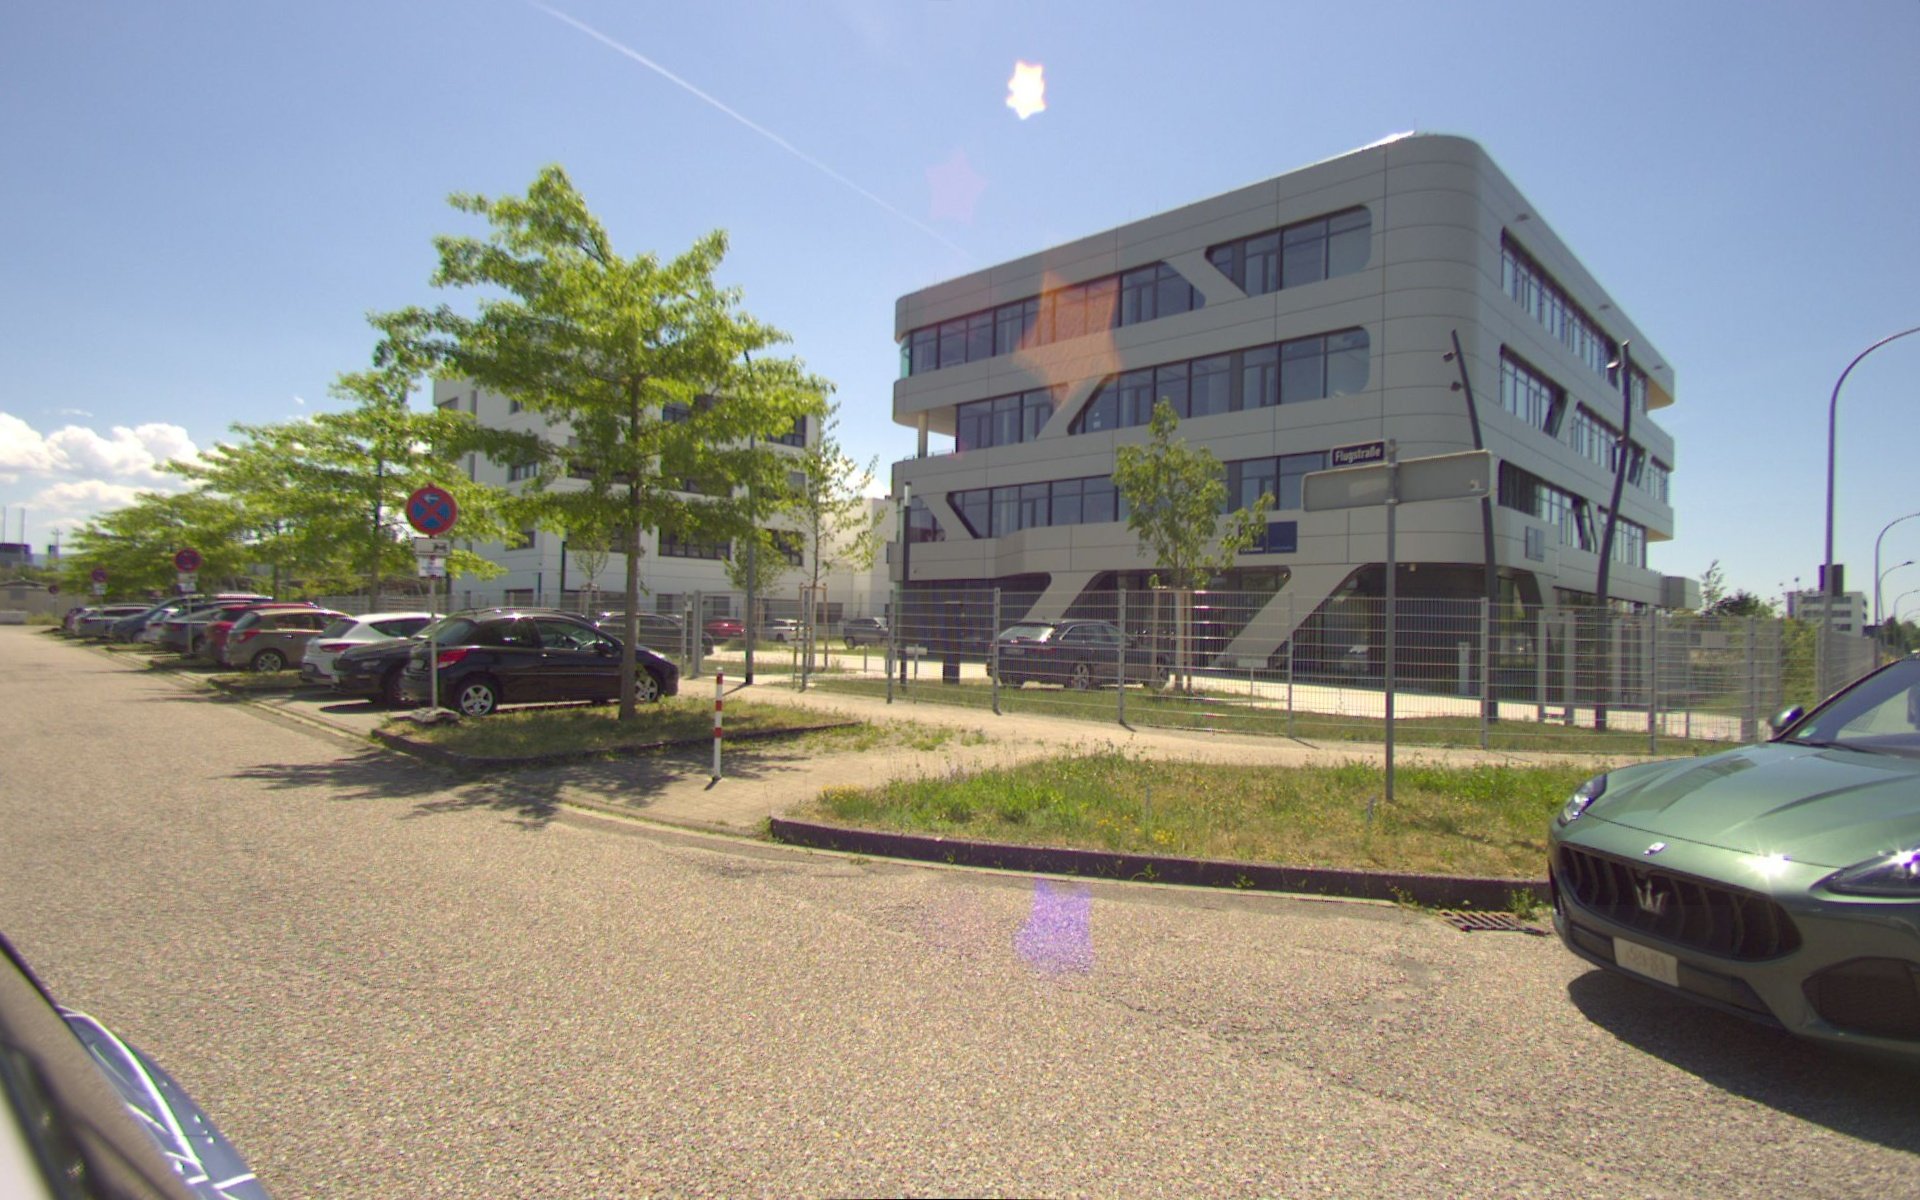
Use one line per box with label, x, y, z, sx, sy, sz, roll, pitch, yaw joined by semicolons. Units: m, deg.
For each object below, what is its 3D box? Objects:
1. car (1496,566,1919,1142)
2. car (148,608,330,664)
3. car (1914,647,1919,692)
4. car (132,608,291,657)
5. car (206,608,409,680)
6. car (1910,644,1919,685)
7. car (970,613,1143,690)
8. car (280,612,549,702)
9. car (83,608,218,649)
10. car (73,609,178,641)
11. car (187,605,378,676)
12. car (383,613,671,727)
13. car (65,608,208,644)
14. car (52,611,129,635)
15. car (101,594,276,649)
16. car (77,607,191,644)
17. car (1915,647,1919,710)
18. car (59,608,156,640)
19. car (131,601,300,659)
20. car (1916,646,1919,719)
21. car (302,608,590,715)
car;4.905;0.900;4.238;4.438;1.720;1.962;3;-4;-11
car;-21.074;1.001;29.684;1.714;1.491;4.145;-1;0;45
car;34.331;2.451;34.816;1.999;1.552;3.945;3;-1;41
car;-24.620;1.035;33.372;1.604;1.472;3.994;-1;0;42
car;-15.019;0.948;23.405;1.730;1.520;3.618;-1;-1;41
car;38.694;2.593;39.601;1.999;1.552;3.945;3;-1;41
car;1.997;1.047;20.281;1.678;1.401;3.440;-1;-4;44
car;-10.019;0.970;18.808;1.873;1.435;4.033;0;0;41
car;-31.356;1.070;39.245;1.765;1.495;3.923;-1;0;45
car;-43.316;1.290;52.575;4.123;1.524;1.808;0;-2;-44
car;-16.821;0.940;25.221;3.694;1.633;1.818;0;-1;-45
car;-6.352;0.932;15.071;1.727;1.446;3.584;0;0;44
car;-35.873;1.095;44.170;1.858;1.458;4.661;-1;-1;43
car;-53.753;1.392;62.579;1.728;1.452;3.465;-1;-1;44
car;-28.741;0.795;37.811;5.010;1.906;1.999;1;-1;-44
car;-39.095;1.168;47.962;4.069;1.647;1.729;0;-1;-44
car;24.332;1.945;24.176;1.999;1.552;3.945;3;-1;41
car;-45.683;1.268;54.292;1.727;1.604;3.797;-1;-1;42
car;-23.154;0.883;31.580;1.776;1.691;3.947;0;0;40
car;20.516;1.744;20.092;1.999;1.552;3.945;3;-1;41
car;-8.387;0.903;16.728;1.785;1.532;3.883;0;0;44
